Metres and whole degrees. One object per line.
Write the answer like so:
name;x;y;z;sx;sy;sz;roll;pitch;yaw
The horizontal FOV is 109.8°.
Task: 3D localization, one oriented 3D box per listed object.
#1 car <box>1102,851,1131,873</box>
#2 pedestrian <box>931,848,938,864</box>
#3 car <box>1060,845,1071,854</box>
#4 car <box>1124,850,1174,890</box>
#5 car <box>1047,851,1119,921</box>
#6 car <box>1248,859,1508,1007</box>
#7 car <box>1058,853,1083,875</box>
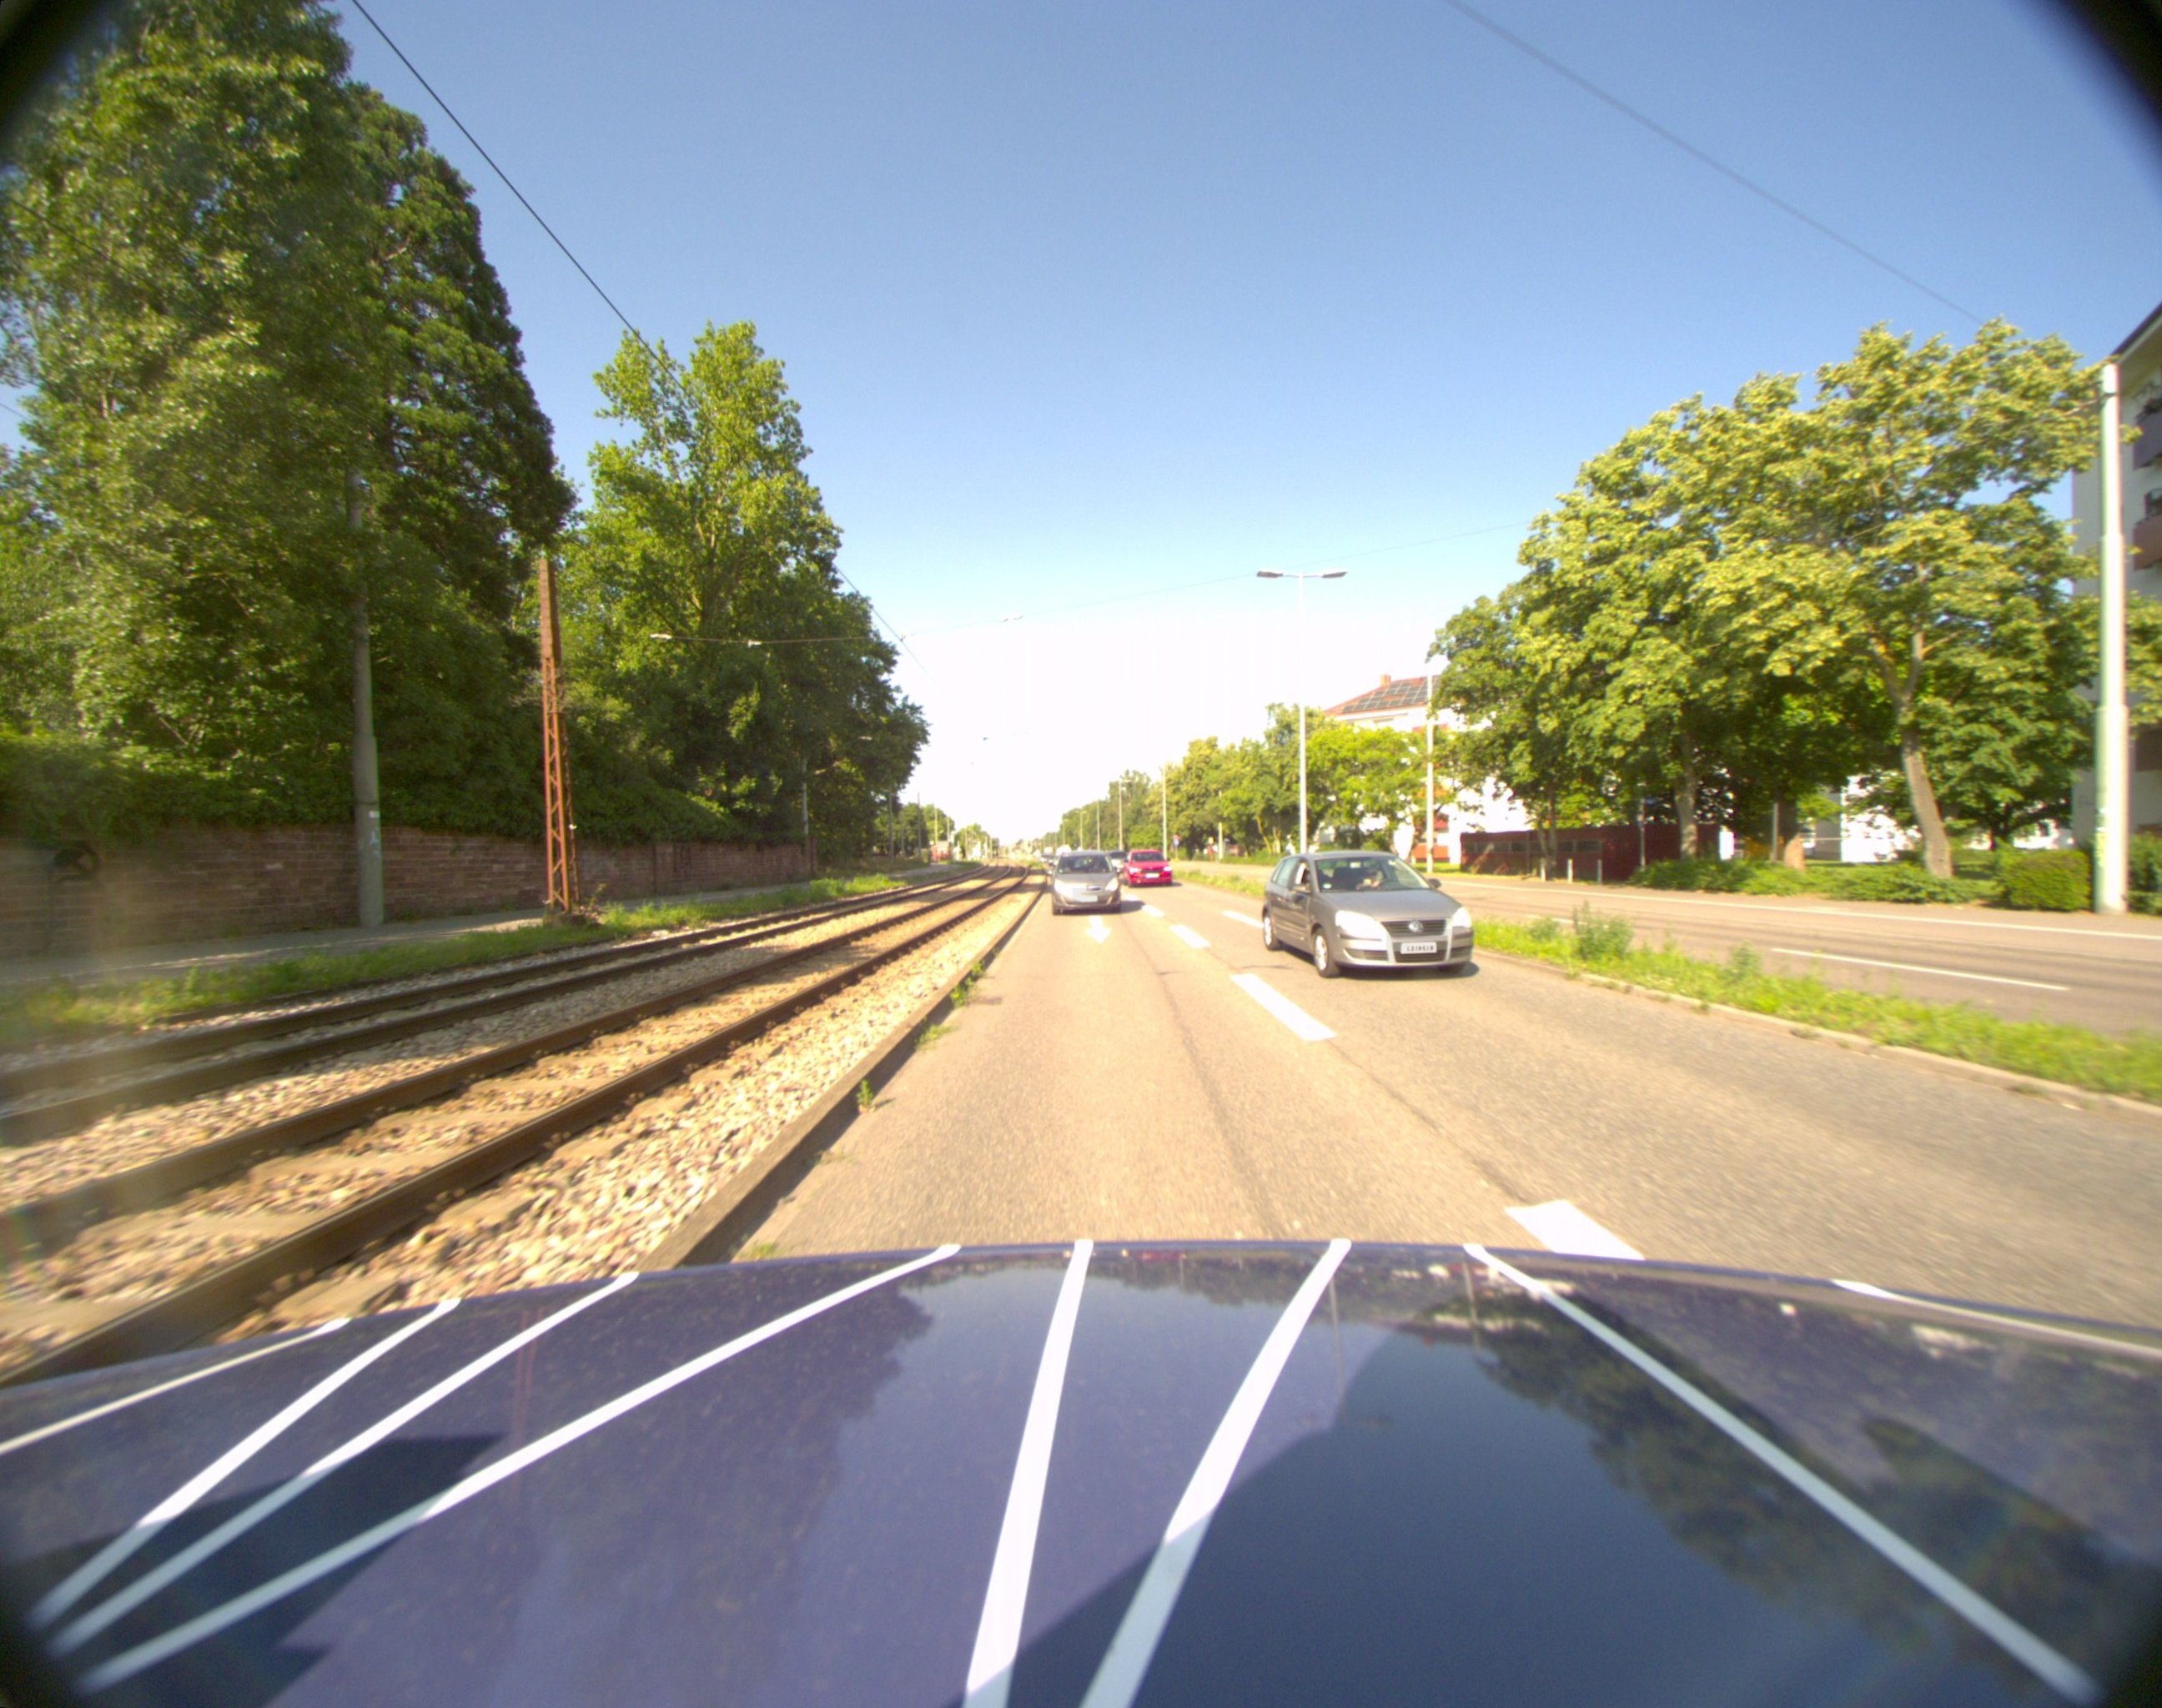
car;2.578;0.551;55.454;1.710;1.513;3.832;-2;1;-2
pedestrian;-15.346;0.220;79.447;0.501;1.706;0.885;0;1;3
car;-2.829;-0.790;134.680;1.710;1.513;3.831;-2;1;-4
car;2.874;0.624;32.889;1.693;1.573;3.832;-2;1;-1
car;0.075;0.756;19.965;1.650;1.581;3.833;-2;1;1
car;3.507;0.825;9.787;1.693;1.420;3.832;-2;0;-2
car;-0.834;0.726;56.965;1.710;1.513;3.832;-2;1;-2
